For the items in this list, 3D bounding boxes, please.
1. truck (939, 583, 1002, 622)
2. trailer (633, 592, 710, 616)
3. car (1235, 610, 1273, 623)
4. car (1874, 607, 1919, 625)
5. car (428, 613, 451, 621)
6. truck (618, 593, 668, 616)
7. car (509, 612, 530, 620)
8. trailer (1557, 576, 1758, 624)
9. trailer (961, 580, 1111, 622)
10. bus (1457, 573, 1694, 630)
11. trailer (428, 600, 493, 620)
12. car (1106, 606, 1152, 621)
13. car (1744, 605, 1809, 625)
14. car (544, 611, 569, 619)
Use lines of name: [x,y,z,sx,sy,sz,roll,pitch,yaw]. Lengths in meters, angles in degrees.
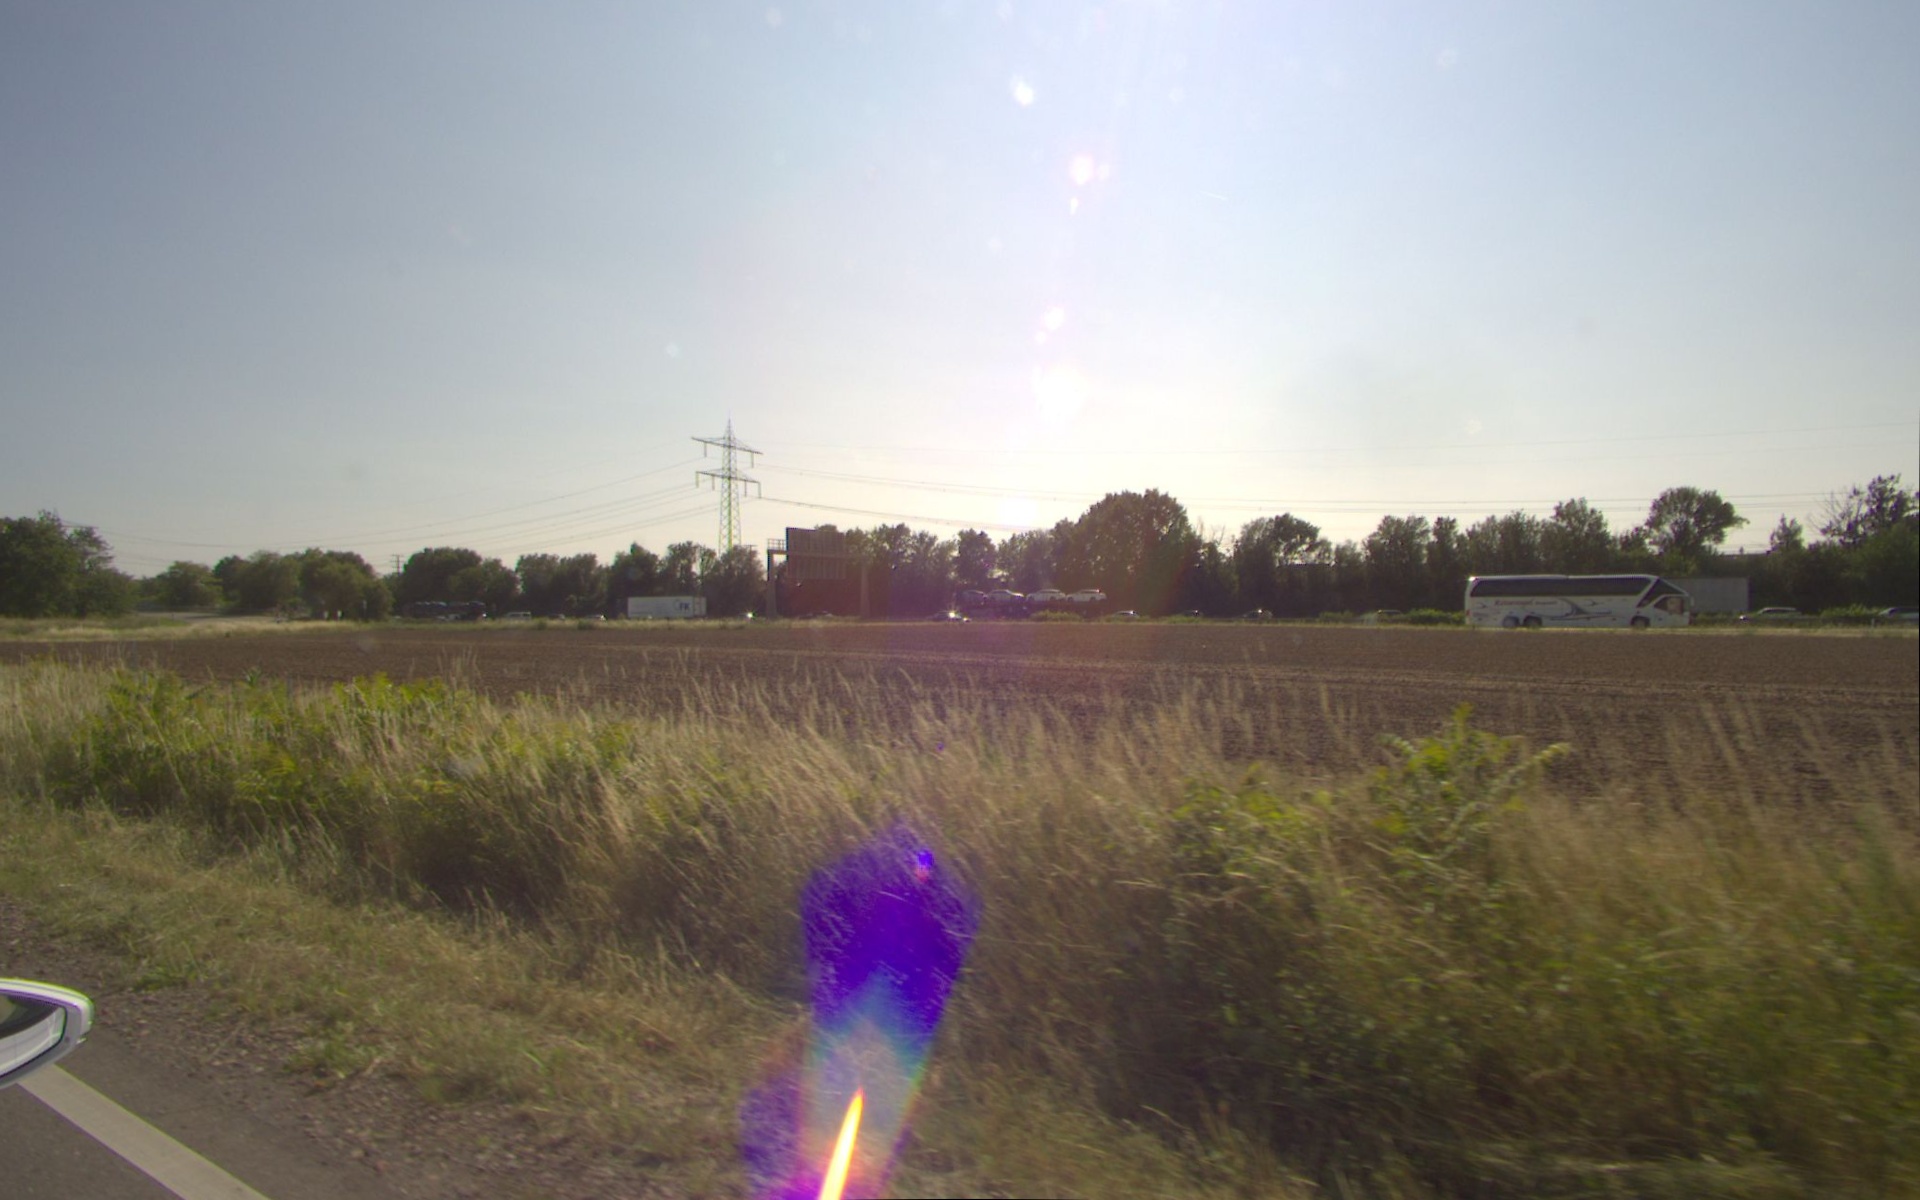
truck: [1.181,0.303,117.833,6.606,4.512,3.416,-1,0,30]
trailer: [-41.902,0.598,145.050,12.274,3.310,3.278,-1,0,31]
car: [27.426,1.534,93.290,3.135,1.166,1.392,0,-1,32]
car: [65.864,1.125,69.675,3.135,1.166,1.392,0,-1,32]
car: [-83.734,2.727,161.037,3.678,1.162,1.664,-1,-2,32]
truck: [-46.945,0.662,148.130,6.877,3.310,3.278,-1,0,31]
car: [-66.386,2.388,150.952,3.135,1.166,1.392,0,-1,32]
trailer: [57.216,0.062,82.778,13.440,3.782,3.065,0,-1,34]
trailer: [8.414,0.209,113.580,17.303,4.512,3.415,-1,0,30]
bus: [43.981,0.100,72.367,14.329,3.854,2.459,0,0,30]
trailer: [-84.807,1.649,169.878,13.255,3.310,3.279,0,0,31]
car: [16.953,1.334,100.532,4.186,1.403,1.848,0,-1,32]
car: [60.172,1.115,73.873,3.551,1.403,1.489,0,-1,32]
car: [-59.652,2.240,148.006,3.678,1.162,1.664,-1,-2,32]
